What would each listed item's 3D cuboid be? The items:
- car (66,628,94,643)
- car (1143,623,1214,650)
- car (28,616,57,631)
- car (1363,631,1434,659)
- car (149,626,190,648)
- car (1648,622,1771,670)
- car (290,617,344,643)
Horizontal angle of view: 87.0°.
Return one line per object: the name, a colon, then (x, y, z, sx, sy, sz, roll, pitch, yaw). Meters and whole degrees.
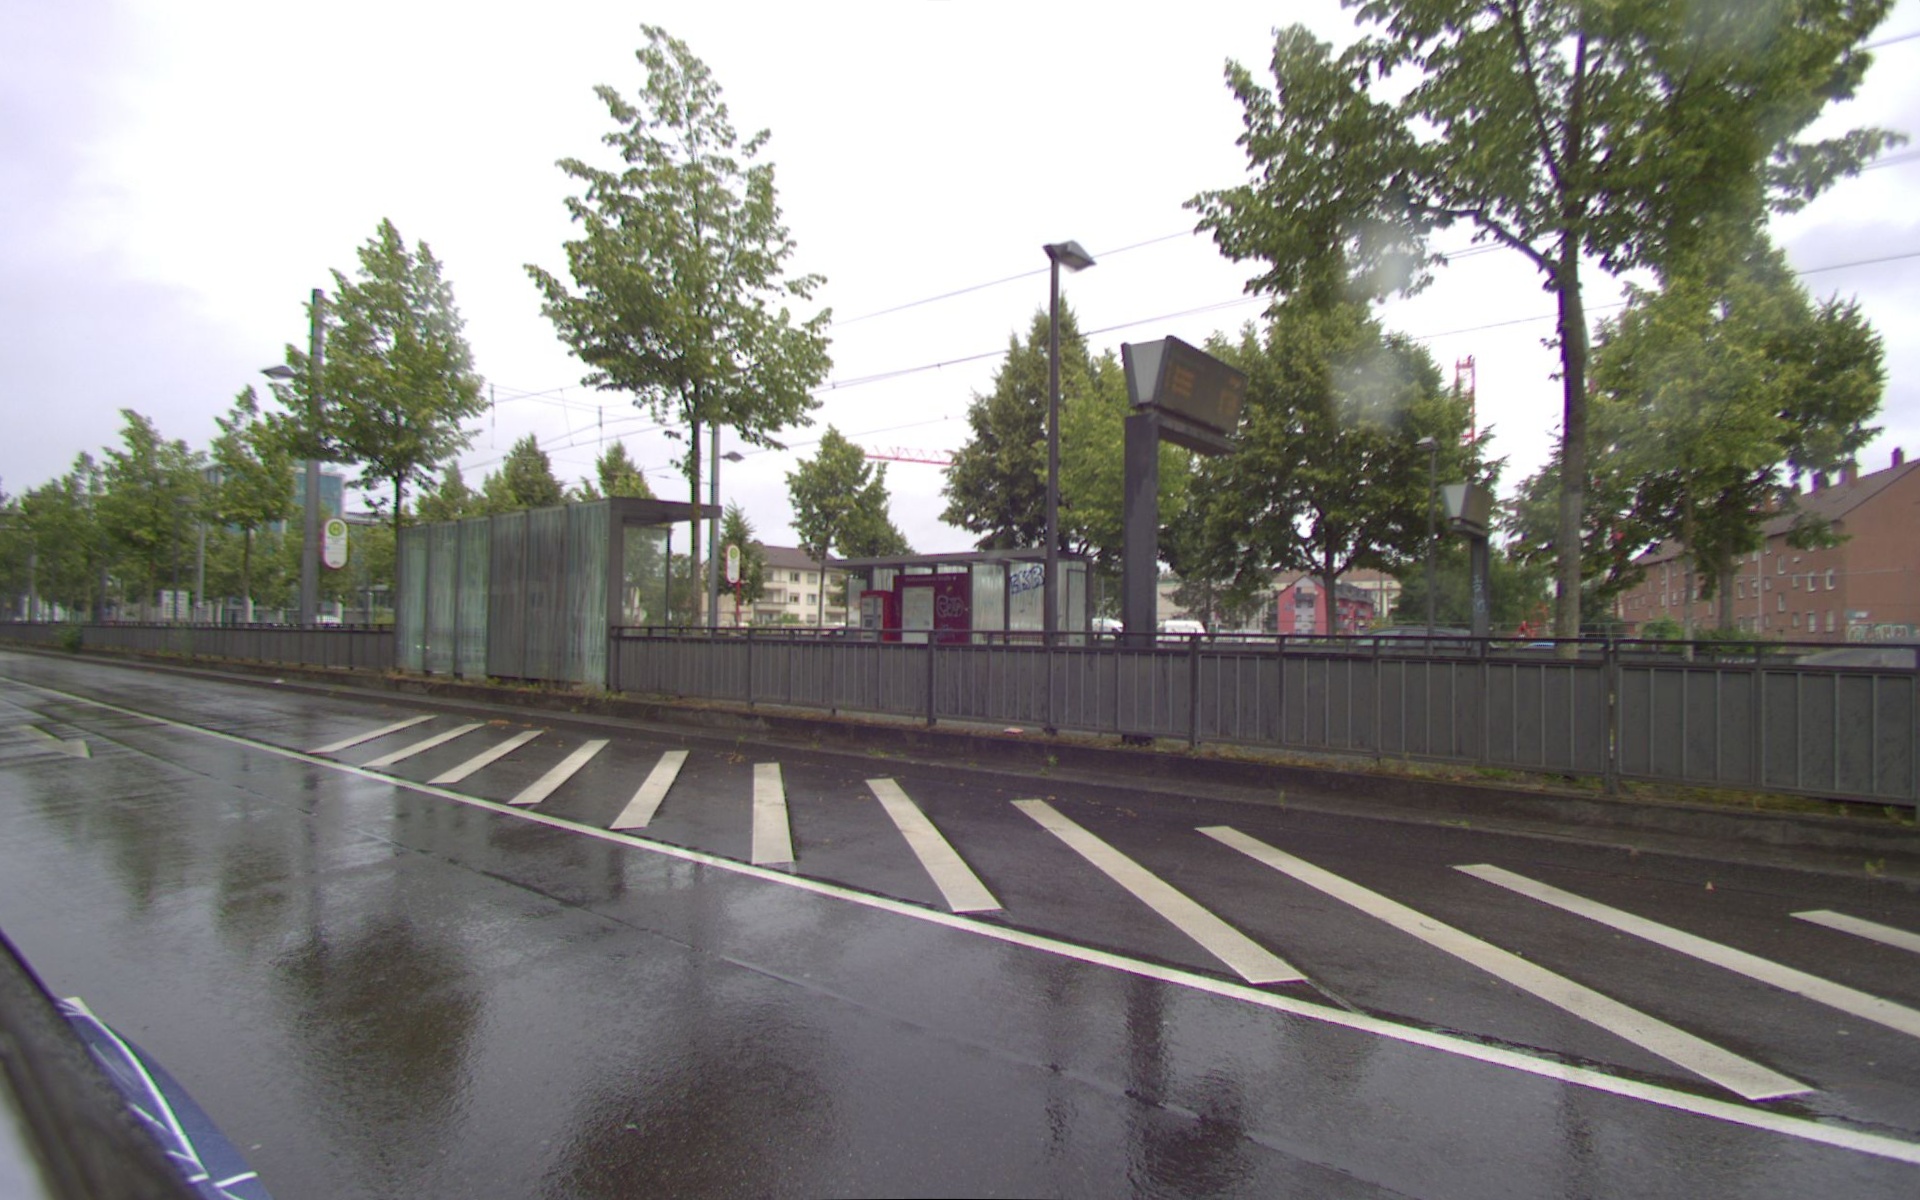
car: (-111.373, 4.529, 128.073, 3.995, 1.759, 1.975, -1, 0, 38)
car: (18.012, 3.003, 83.533, 5.411, 2.067, 1.976, -1, 0, 37)
car: (-111.552, 2.794, 123.075, 3.995, 1.759, 1.975, -1, 0, 38)
car: (31.686, 3.205, 73.154, 4.415, 1.891, 1.855, -1, 0, 34)
car: (-68.667, 3.193, 87.897, 3.995, 1.759, 1.975, -1, 0, 38)
car: (42.099, 2.544, 57.044, 5.482, 2.471, 1.976, -1, 0, 36)
car: (-44.887, 2.066, 70.586, 3.995, 1.759, 1.975, -1, 0, 38)
